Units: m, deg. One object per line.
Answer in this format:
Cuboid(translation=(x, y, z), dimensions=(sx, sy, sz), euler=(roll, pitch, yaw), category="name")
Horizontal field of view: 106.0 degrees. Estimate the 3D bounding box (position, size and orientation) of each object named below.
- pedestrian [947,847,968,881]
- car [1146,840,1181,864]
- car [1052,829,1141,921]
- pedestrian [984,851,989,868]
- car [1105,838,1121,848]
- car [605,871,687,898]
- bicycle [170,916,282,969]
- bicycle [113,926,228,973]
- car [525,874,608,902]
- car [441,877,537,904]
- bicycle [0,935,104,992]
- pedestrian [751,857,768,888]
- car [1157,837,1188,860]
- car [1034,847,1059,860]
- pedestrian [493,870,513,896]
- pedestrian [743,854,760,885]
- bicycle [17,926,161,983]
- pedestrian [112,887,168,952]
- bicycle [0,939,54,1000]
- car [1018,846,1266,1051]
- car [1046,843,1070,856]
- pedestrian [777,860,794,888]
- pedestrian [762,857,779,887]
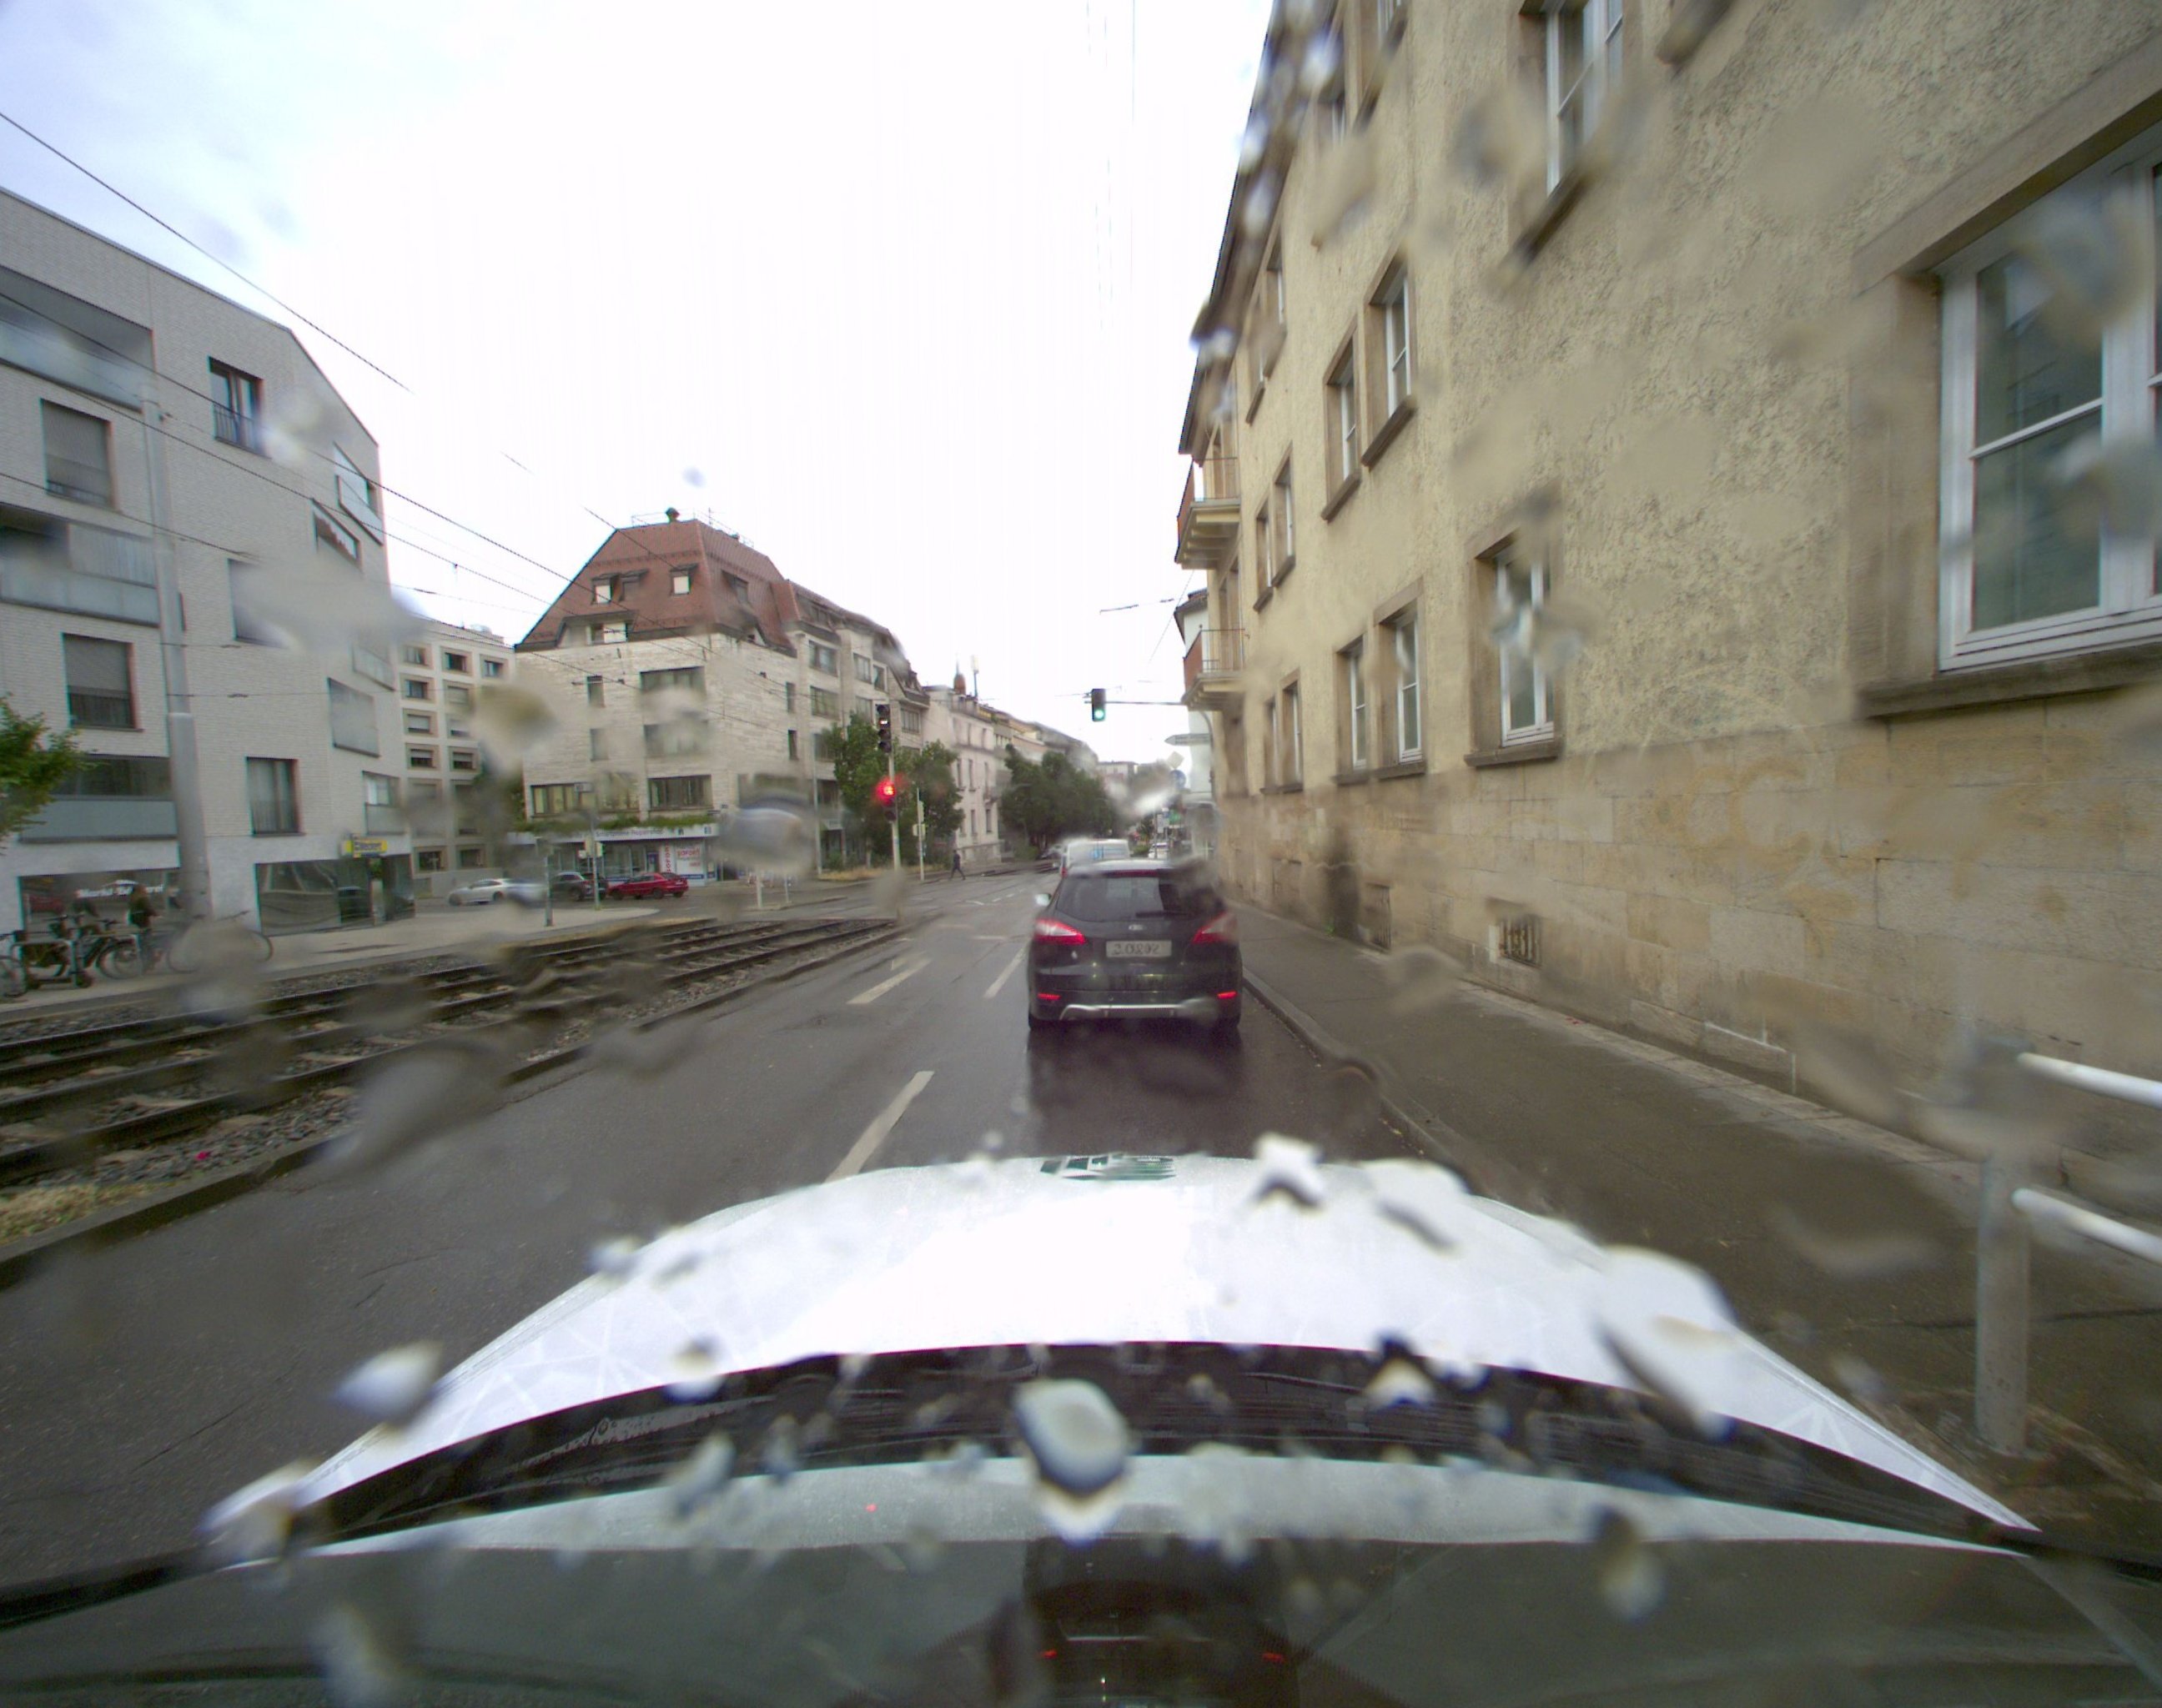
Cuboid(translation=(-6.876, 0.559, 45.364), dimensions=(0.926, 1.830, 0.960), euler=(0, -1, 4), category="pedestrian")
Cuboid(translation=(5.723, -0.148, 55.793), dimensions=(1.789, 1.455, 4.602), euler=(-3, 0, 12), category="car")
Cuboid(translation=(0.395, 0.492, 20.686), dimensions=(1.981, 2.060, 4.645), euler=(-1, 0, 1), category="car")
Cuboid(translation=(-9.037, 0.531, 78.029), dimensions=(0.466, 1.652, 0.582), euler=(0, -1, 0), category="pedestrian")
Cuboid(translation=(5.420, -1.867, 139.223), dimensions=(1.843, 1.637, 4.952), euler=(-2, 0, 12), category="car")
Cuboid(translation=(-23.031, 1.608, 43.139), dimensions=(3.667, 1.318, 1.600), euler=(-2, -1, 14), category="car")
Cuboid(translation=(-17.976, 1.845, 17.137), dimensions=(1.779, 0.980, 0.440), euler=(-2, 0, -3), category="bicycle")
Cuboid(translation=(-17.796, 1.867, 15.929), dimensions=(1.778, 0.876, 0.387), euler=(0, -1, -1), category="bicycle")
Cuboid(translation=(-27.811, 1.823, 44.040), dimensions=(3.670, 1.318, 1.598), euler=(-2, -1, 11), category="car")
Cuboid(translation=(-32.542, 2.012, 44.818), dimensions=(4.458, 1.318, 1.598), euler=(-2, -1, 11), category="car")
Cuboid(translation=(-18.034, 1.878, 14.003), dimensions=(1.782, 0.918, 0.386), euler=(0, -1, -8), category="bicycle")
Cuboid(translation=(-18.509, 1.053, 46.874), dimensions=(0.643, 1.749, 0.686), euler=(0, -1, 10), category="pedestrian")
Cuboid(translation=(7.016, -0.445, 62.385), dimensions=(1.833, 1.632, 4.602), euler=(-2, 0, 12), category="car")
Cuboid(translation=(-3.971, -0.081, 93.942), dimensions=(1.682, 1.377, 4.736), euler=(-2, -1, 12), category="car")
Cuboid(translation=(-34.977, 1.753, 49.294), dimensions=(0.677, 1.549, 0.651), euler=(0, -1, 10), category="pedestrian")
Cuboid(translation=(-19.343, 0.896, 47.856), dimensions=(0.643, 1.842, 0.686), euler=(0, -1, 10), category="pedestrian")
Cuboid(translation=(-18.428, 1.854, 15.156), dimensions=(1.787, 0.917, 0.385), euler=(-1, 0, -16), category="bicycle")
Cuboid(translation=(-24.112, 1.654, 20.882), dimensions=(0.650, 1.569, 0.770), euler=(-2, 0, -26), category="pedestrian")
Cuboid(translation=(-17.747, 1.883, 13.124), dimensions=(1.779, 0.918, 0.387), euler=(-2, 0, -3), category="bicycle")
Cuboid(translation=(0.510, 0.716, 8.078), dimensions=(1.836, 1.507, 4.001), euler=(-1, 0, 1), category="car")
Cuboid(translation=(-2.790, -0.543, 99.827), dimensions=(1.843, 1.548, 4.736), euler=(-2, 0, 12), category="car")
Cuboid(translation=(-16.999, 1.143, 46.835), dimensions=(0.643, 1.549, 0.686), euler=(0, -1, 10), category="pedestrian")
Cuboid(translation=(-17.816, 1.022, 46.760), dimensions=(0.643, 1.724, 0.686), euler=(0, -1, 10), category="pedestrian")
